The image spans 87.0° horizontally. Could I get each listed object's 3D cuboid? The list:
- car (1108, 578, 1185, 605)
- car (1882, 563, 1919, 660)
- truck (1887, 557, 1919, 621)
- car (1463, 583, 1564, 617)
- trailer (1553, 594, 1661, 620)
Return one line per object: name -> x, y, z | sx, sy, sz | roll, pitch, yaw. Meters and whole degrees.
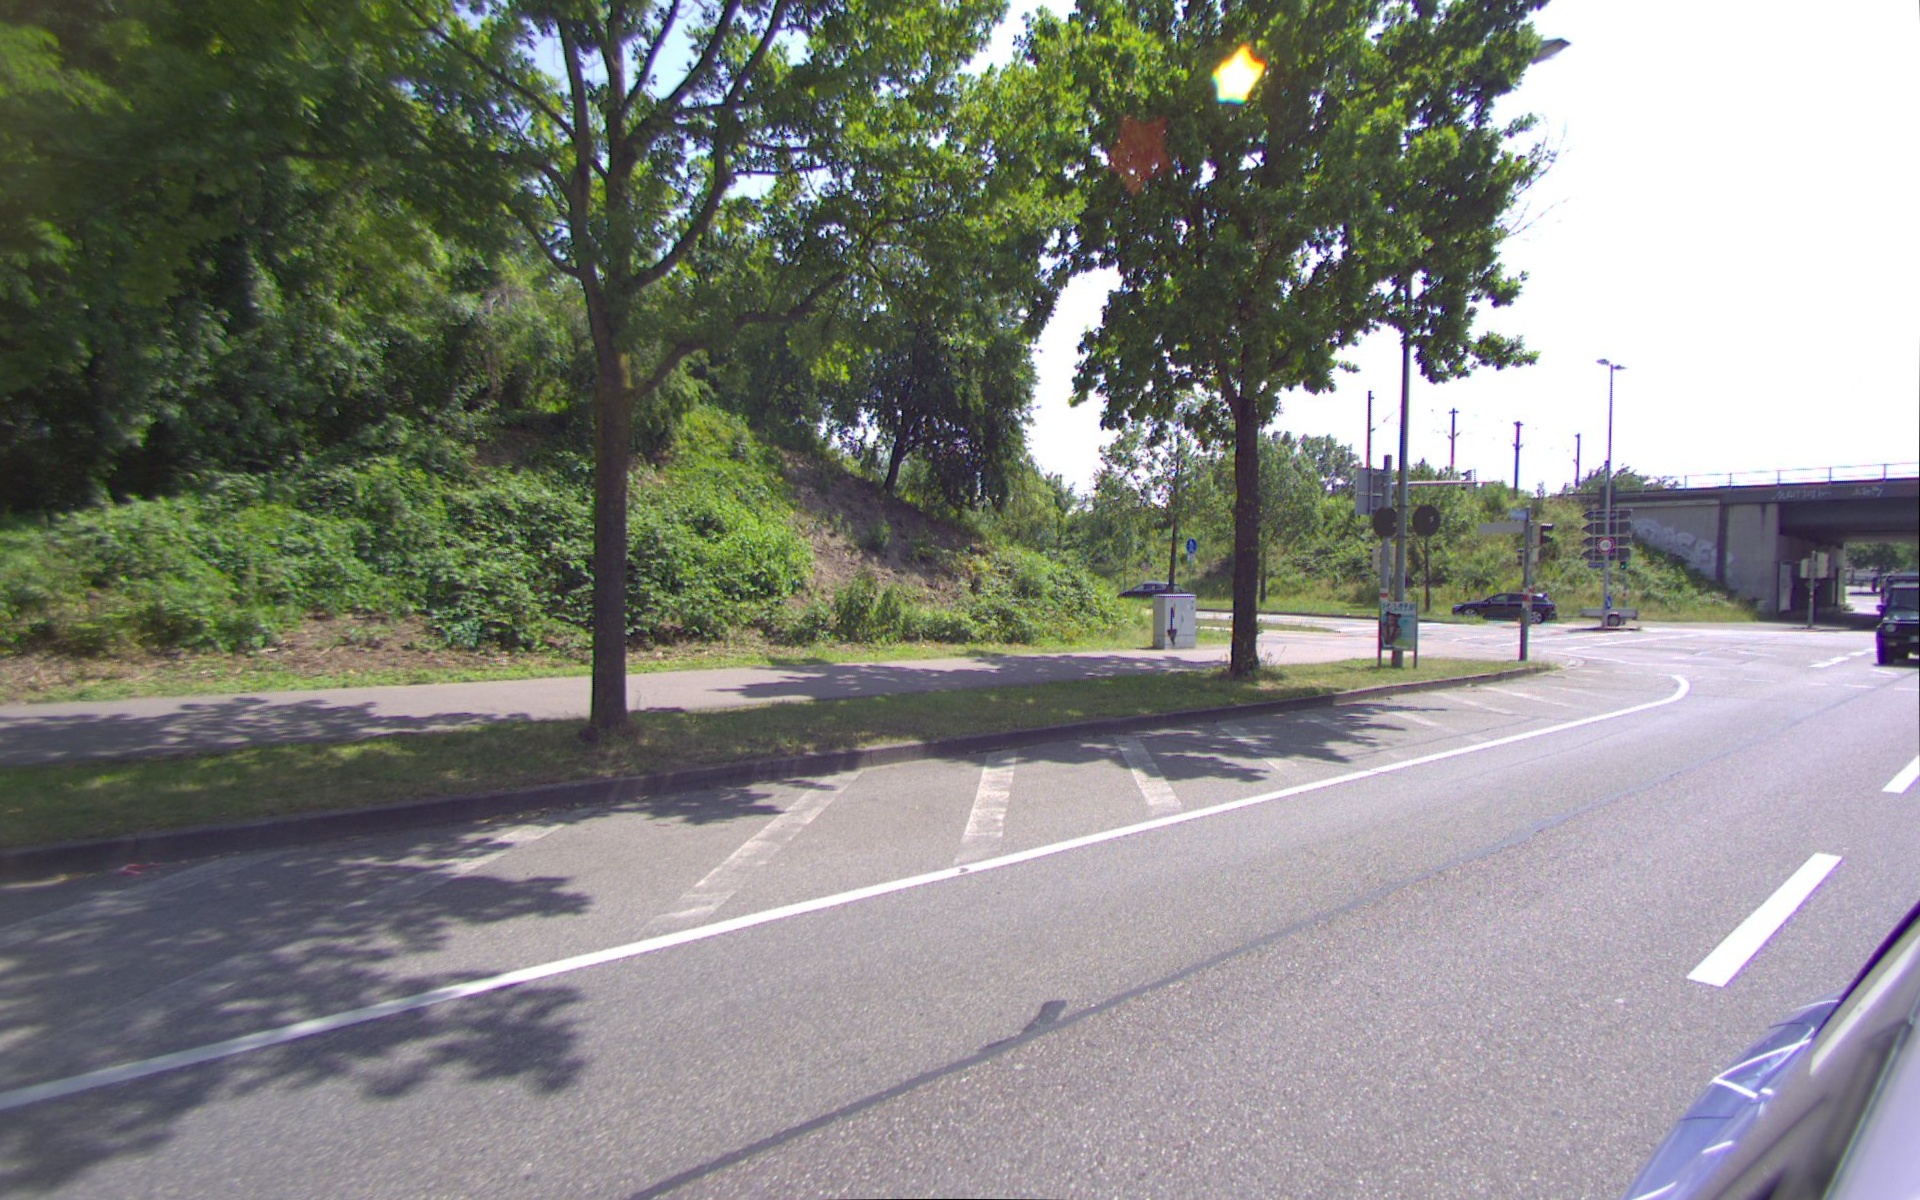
car -> 11.295, -0.527, 61.659 | 1.776, 1.521, 4.673 | 0, 1, -36
car -> 23.454, 0.241, 24.024 | 4.479, 2.180, 1.840 | -1, 1, -42
truck -> 47.723, -0.519, 49.742 | 2.879, 2.952, 8.378 | 0, 1, 45
car -> 25.194, -0.011, 46.080 | 3.878, 1.407, 1.787 | 2, 2, 35
trailer -> 28.195, 0.280, 44.221 | 3.797, 0.954, 1.666 | 2, 1, 28
